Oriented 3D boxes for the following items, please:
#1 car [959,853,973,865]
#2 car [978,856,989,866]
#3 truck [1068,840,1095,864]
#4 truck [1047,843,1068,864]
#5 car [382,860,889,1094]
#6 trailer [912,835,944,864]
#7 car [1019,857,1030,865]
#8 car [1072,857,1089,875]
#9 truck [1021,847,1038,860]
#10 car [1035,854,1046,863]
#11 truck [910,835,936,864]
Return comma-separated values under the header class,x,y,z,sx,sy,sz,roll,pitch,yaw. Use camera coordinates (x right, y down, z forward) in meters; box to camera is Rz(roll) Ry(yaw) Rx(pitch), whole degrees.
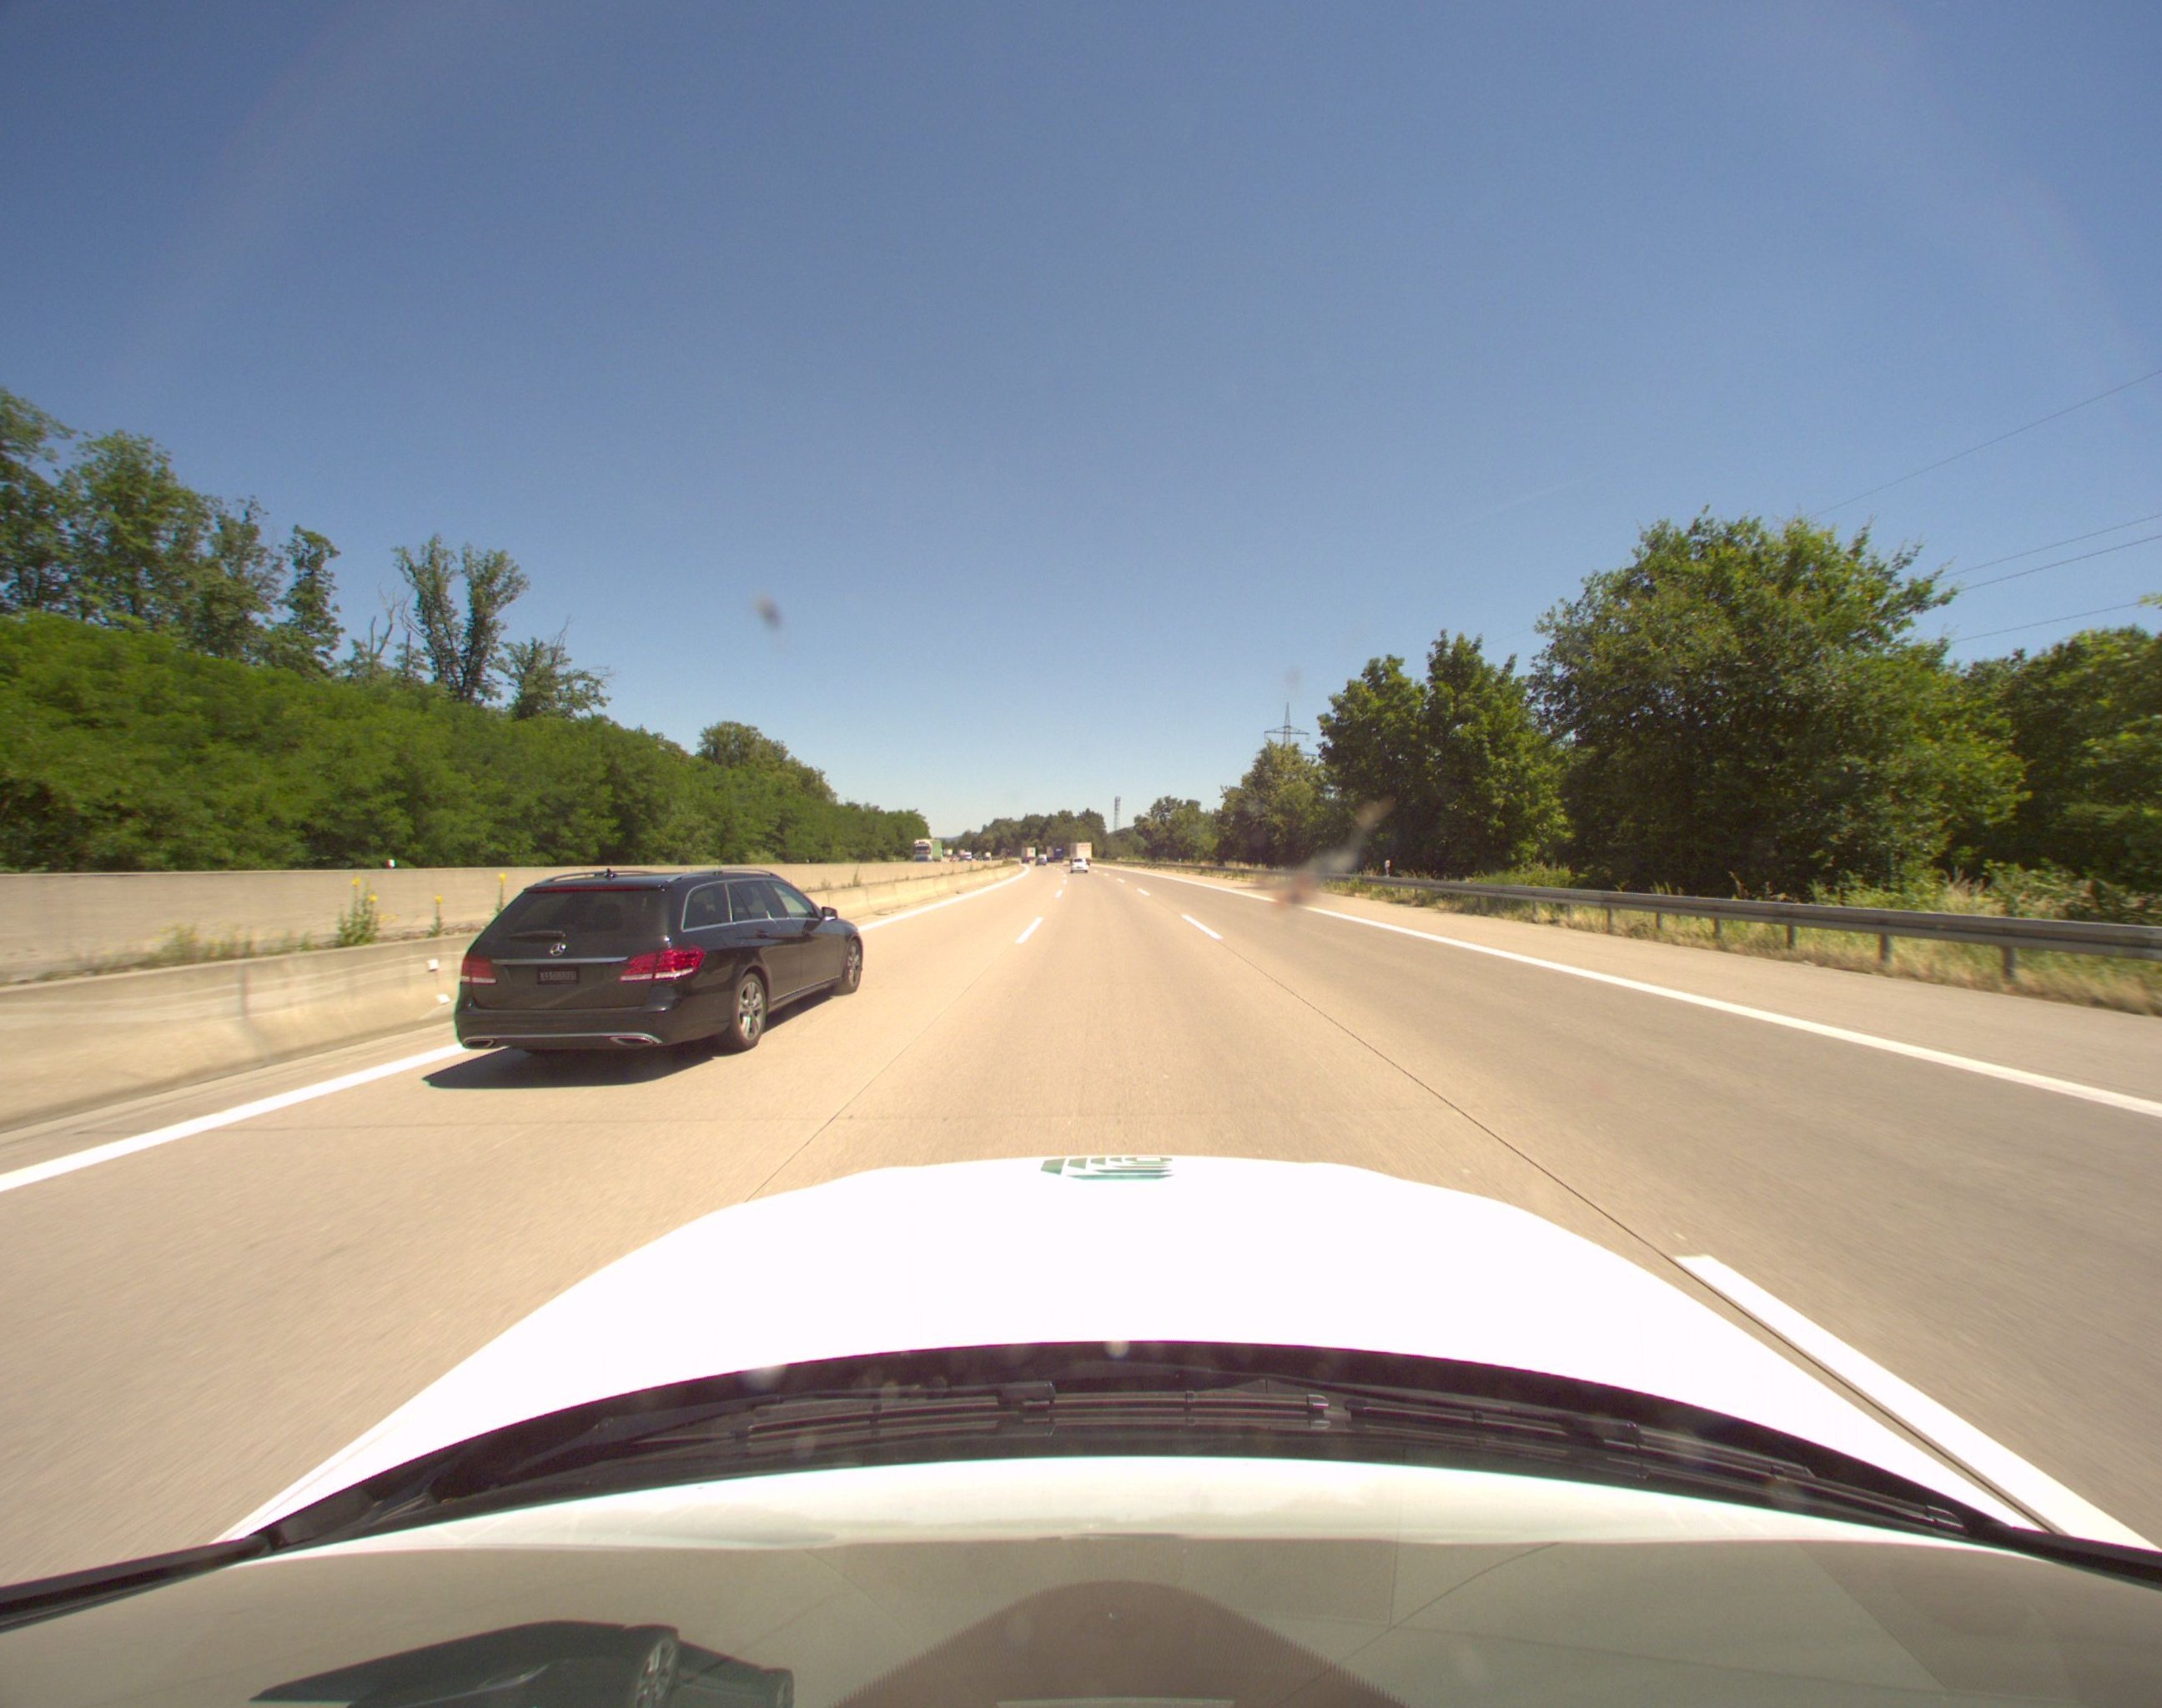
class,x,y,z,sx,sy,sz,roll,pitch,yaw
car,-19.918,0.891,141.038,1.857,2.014,3.996,1,0,-2
car,-19.208,1.419,161.114,1.857,1.850,3.996,-1,0,-2
truck,0.048,-0.275,145.341,3.813,3.889,14.132,-1,0,-4
truck,-5.936,-0.062,200.987,3.903,4.741,14.018,-1,0,-6
car,-3.589,0.828,8.151,1.884,1.473,5.604,-1,0,1
trailer,-22.305,-0.573,119.691,2.675,3.935,13.234,-1,0,-2
car,-12.929,1.567,186.606,2.021,1.700,3.988,4,0,-9
car,-0.061,1.226,83.026,1.636,1.662,3.360,4,0,0
truck,-16.762,-0.216,263.299,3.898,3.983,13.571,-1,0,-10
car,-7.427,0.822,150.079,1.609,1.725,3.563,-1,0,-8
truck,-22.081,-0.627,114.039,2.658,3.935,5.963,-1,0,-2
